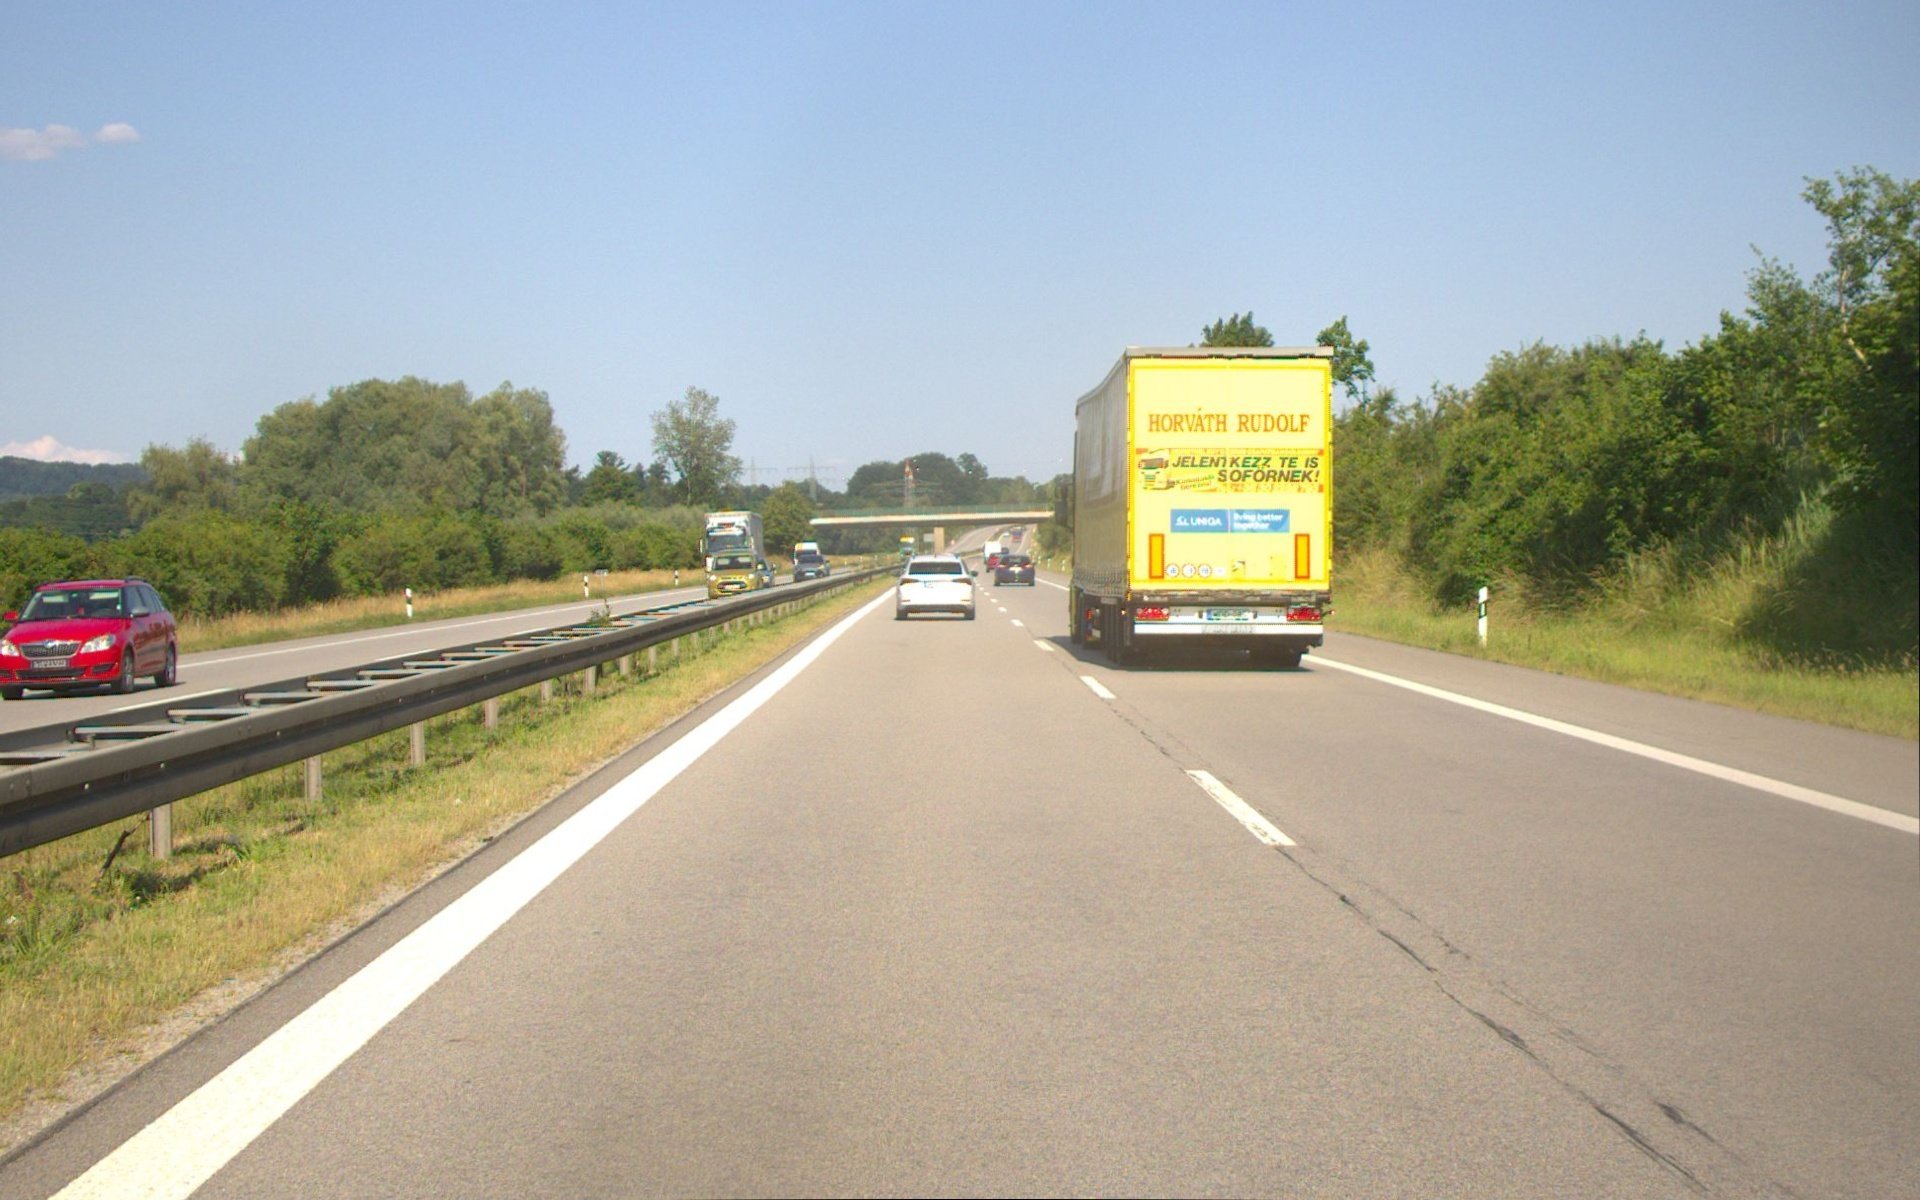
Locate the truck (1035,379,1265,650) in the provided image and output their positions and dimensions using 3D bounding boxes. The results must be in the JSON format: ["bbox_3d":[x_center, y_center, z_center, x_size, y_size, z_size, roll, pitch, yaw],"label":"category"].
[{"bbox_3d":[2.987,-1.350,55.852,3.168,4.100,6.389,1,1,-1],"label":"truck"}]

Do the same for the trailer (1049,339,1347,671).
[{"bbox_3d":[3.101,-1.246,48.934,3.184,4.045,13.187,1,1,0],"label":"trailer"}]

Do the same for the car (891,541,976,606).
[{"bbox_3d":[-0.565,-0.602,77.856,1.843,1.411,4.000,1,1,0],"label":"car"}]

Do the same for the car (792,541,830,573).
[{"bbox_3d":[-8.019,-2.310,184.941,1.725,1.577,4.767,-4,1,0],"label":"car"}]

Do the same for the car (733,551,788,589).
[{"bbox_3d":[-8.075,-1.213,139.281,1.767,1.415,4.470,-4,1,1],"label":"car"}]

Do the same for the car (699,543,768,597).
[{"bbox_3d":[-8.117,-1.074,123.452,1.950,1.765,4.748,-4,1,1],"label":"car"}]

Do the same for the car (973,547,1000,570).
[{"bbox_3d":[2.023,-3.163,262.339,1.902,1.677,4.731,2,1,-1],"label":"car"}]

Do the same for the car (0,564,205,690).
[{"bbox_3d":[-11.325,0.318,45.092,1.730,1.506,4.479,-3,1,1],"label":"car"}]

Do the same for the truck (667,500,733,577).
[{"bbox_3d":[-14.511,-3.400,192.124,3.168,4.100,6.389,-2,1,-1],"label":"truck"}]

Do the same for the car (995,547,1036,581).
[{"bbox_3d":[2.565,-1.676,158.816,1.843,1.515,4.000,1,1,0],"label":"car"}]
